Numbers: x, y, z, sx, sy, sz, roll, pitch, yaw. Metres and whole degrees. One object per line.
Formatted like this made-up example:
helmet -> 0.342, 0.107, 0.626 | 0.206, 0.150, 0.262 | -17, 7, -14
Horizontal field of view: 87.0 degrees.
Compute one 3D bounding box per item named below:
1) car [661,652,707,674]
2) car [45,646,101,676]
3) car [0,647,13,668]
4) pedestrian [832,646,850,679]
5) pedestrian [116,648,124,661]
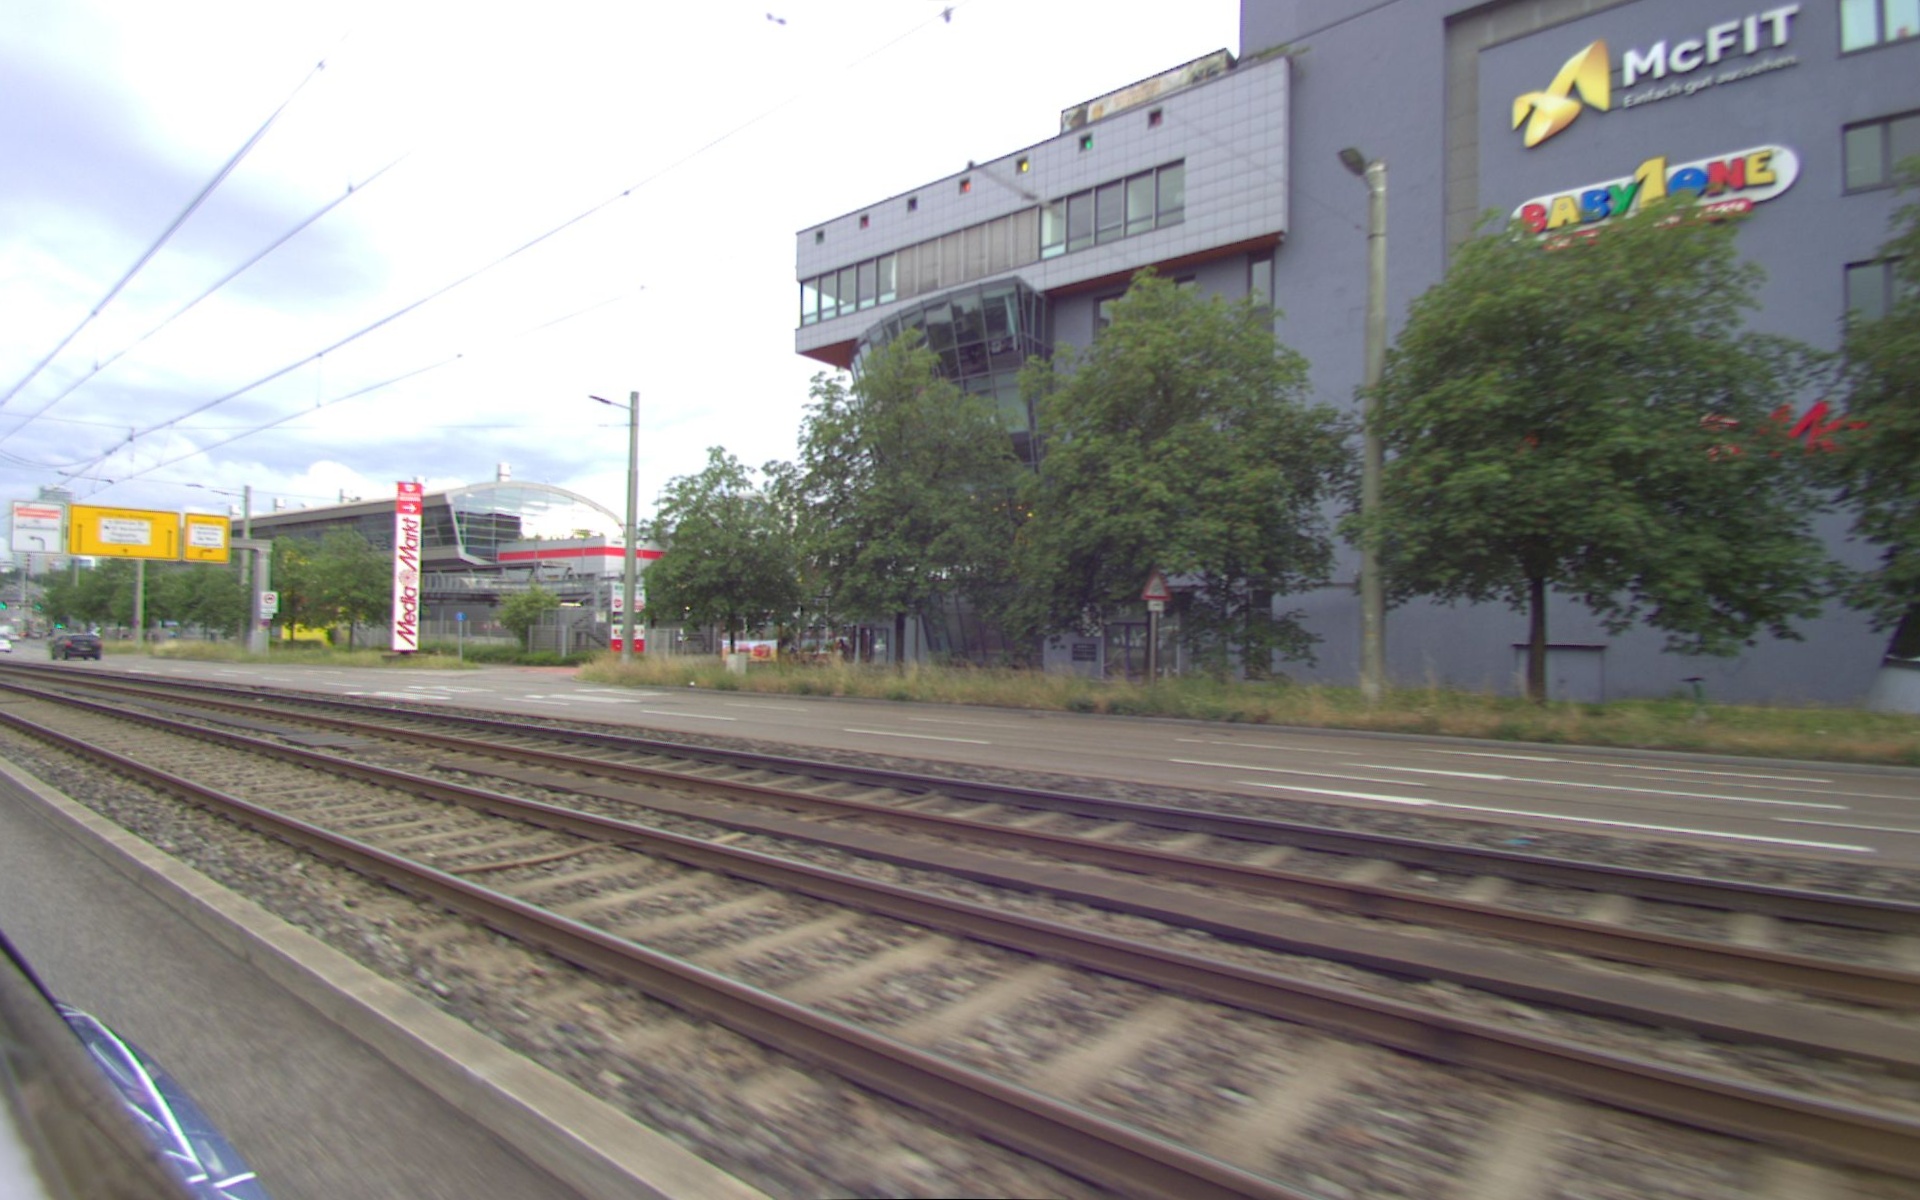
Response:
car -> -20.138, 4.583, 73.936 | 1.646, 1.292, 4.095 | -2, 0, 10
car -> -53.739, 3.729, 61.302 | 4.210, 1.749, 1.972 | -4, -6, 42
car -> -80.065, 4.727, 84.077 | 2.949, 1.548, 1.581 | 2, -3, 41
pedestrian -> -6.144, 3.233, 52.274 | 0.579, 1.692, 0.802 | -1, -4, 29
pedestrian -> -100.405, 6.516, 120.966 | 0.626, 1.575, 0.675 | -2, -1, 40
